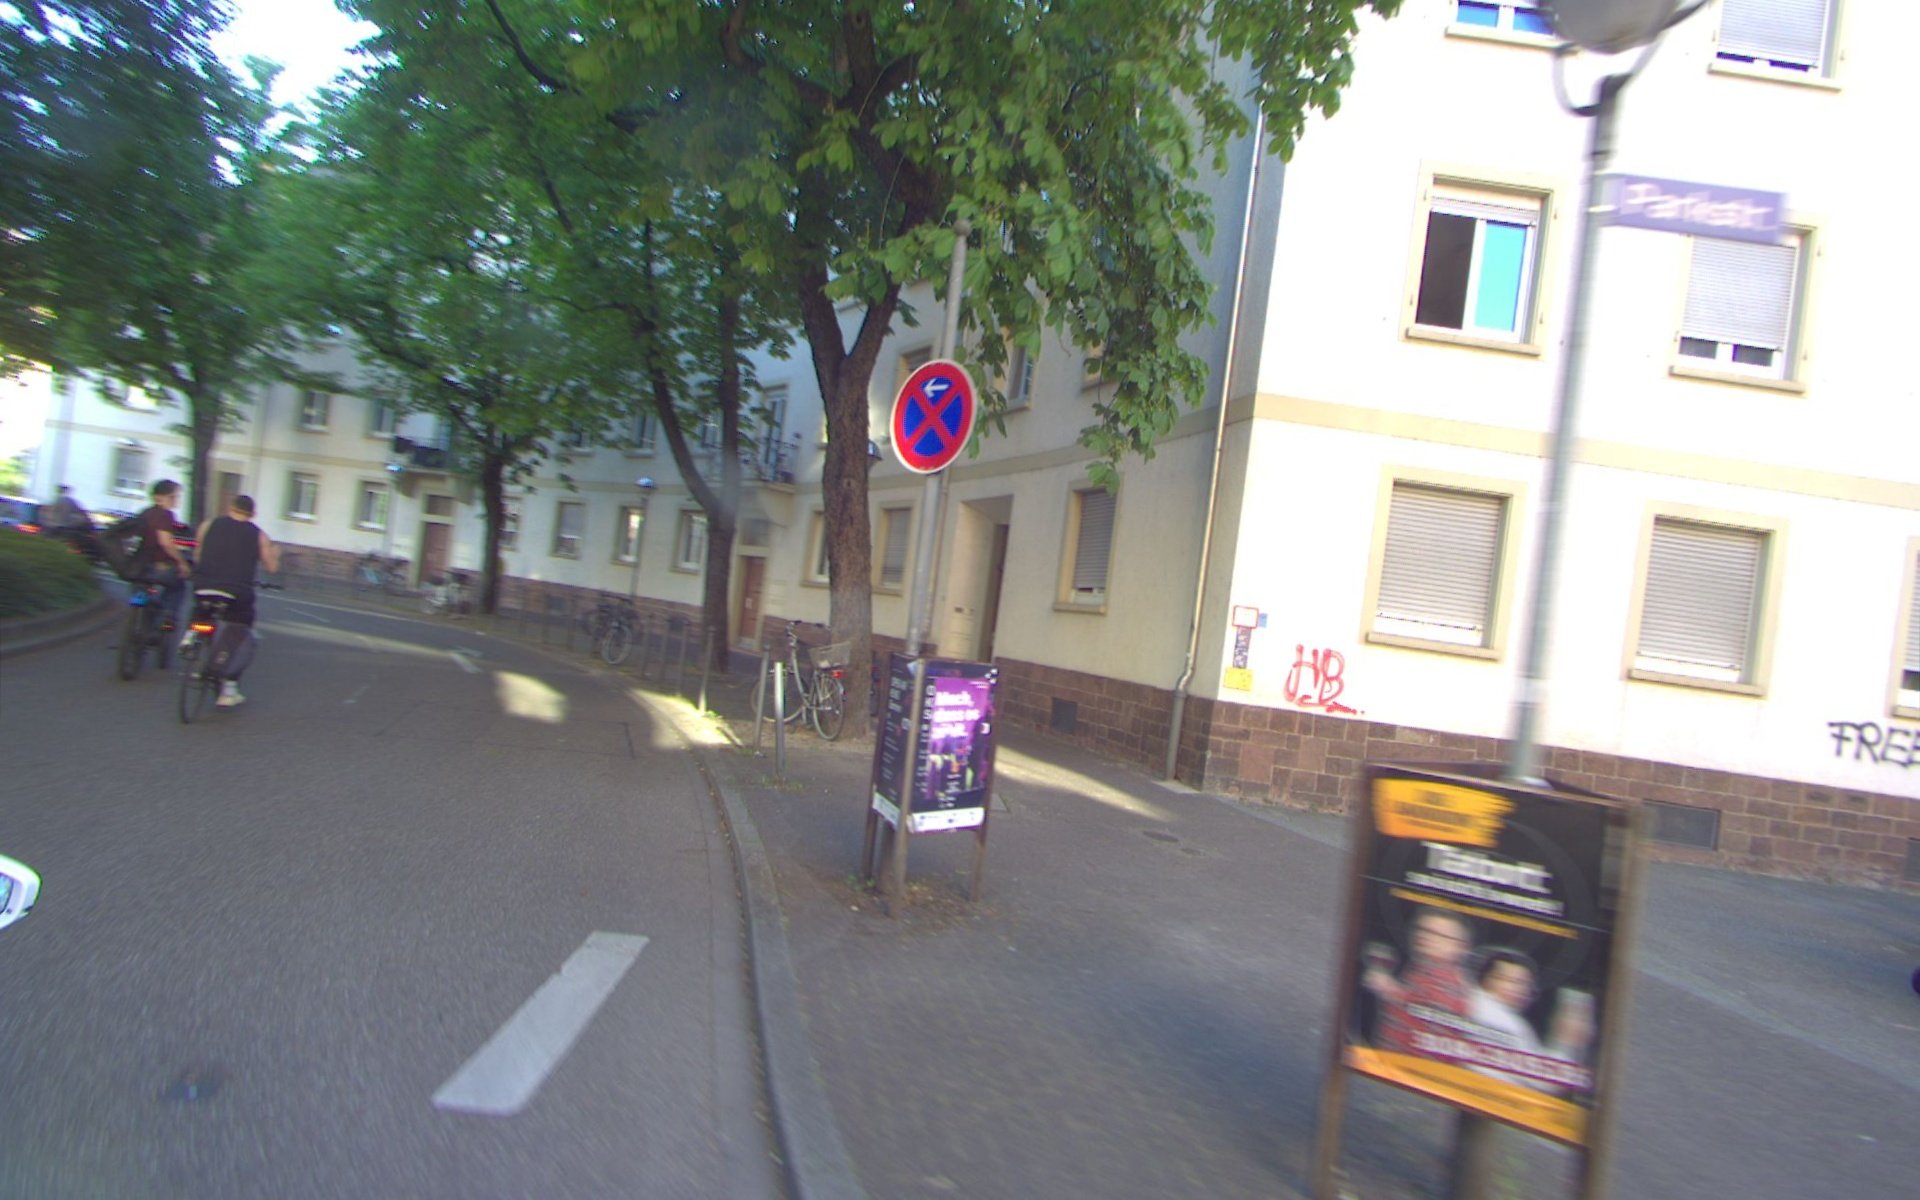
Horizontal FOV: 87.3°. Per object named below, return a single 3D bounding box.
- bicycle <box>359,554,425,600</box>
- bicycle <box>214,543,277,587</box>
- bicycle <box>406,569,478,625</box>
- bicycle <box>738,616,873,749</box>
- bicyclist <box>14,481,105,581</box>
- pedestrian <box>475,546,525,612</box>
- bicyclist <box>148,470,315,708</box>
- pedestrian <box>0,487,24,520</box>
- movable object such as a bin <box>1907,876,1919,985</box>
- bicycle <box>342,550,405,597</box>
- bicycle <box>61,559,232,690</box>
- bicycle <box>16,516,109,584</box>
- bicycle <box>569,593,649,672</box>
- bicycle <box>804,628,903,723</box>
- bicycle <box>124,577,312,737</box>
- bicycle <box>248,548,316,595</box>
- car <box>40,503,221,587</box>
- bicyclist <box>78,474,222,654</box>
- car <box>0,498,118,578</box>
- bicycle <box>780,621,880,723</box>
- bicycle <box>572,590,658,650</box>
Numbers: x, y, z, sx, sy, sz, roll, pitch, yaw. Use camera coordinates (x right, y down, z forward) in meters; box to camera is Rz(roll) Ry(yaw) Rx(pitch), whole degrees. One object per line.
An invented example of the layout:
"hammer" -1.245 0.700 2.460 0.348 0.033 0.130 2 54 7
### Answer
"bicycle" -17.052 -0.701 30.194 2.080 1.127 0.583 7 0 27
"bicycle" -20.262 -0.991 28.511 2.154 1.011 0.521 7 -1 30
"bicycle" -12.557 -0.084 24.378 1.960 1.127 0.616 7 3 34
"bicycle" -1.728 0.866 10.999 0.551 1.196 1.772 8 -1 -37
"bicyclist" -18.998 -1.448 21.233 1.119 1.921 0.853 7 0 23
"pedestrian" -13.596 -0.617 29.761 0.648 1.817 0.996 7 1 28
"bicyclist" -5.726 -0.080 7.975 0.746 1.702 0.907 8 0 -26
"pedestrian" -62.303 -6.321 65.707 1.147 1.985 1.380 8 -1 -23
"movable object such as a bin" 6.056 1.766 5.719 0.661 1.096 0.593 8 -1 0
"bicycle" -17.301 -0.788 29.651 2.080 1.188 0.495 7 3 26
"bicycle" -7.749 0.208 9.698 0.667 1.066 2.050 7 -2 -24
"bicycle" -18.948 -1.062 21.231 2.005 1.175 0.599 7 -1 25
"bicycle" -6.144 0.542 17.537 0.676 1.172 1.982 7 -1 -36
"bicycle" -1.558 1.049 14.394 0.389 1.122 1.784 8 -1 -38
"bicycle" -5.818 0.393 8.028 0.731 1.024 2.048 8 -1 -26
"bicycle" -18.820 -0.783 27.917 1.894 1.071 0.617 7 1 25
"car" -22.007 -1.463 26.706 3.926 1.596 1.899 7 -1 21
"bicyclist" -7.609 -0.327 9.507 0.665 1.532 1.063 7 -1 -24
"car" -22.172 -1.544 23.653 3.884 1.563 1.818 7 0 19
"bicycle" -1.845 0.980 14.076 0.435 1.195 1.767 8 -1 -37
"bicycle" -7.838 0.449 22.849 1.789 1.197 0.673 5 1 25
